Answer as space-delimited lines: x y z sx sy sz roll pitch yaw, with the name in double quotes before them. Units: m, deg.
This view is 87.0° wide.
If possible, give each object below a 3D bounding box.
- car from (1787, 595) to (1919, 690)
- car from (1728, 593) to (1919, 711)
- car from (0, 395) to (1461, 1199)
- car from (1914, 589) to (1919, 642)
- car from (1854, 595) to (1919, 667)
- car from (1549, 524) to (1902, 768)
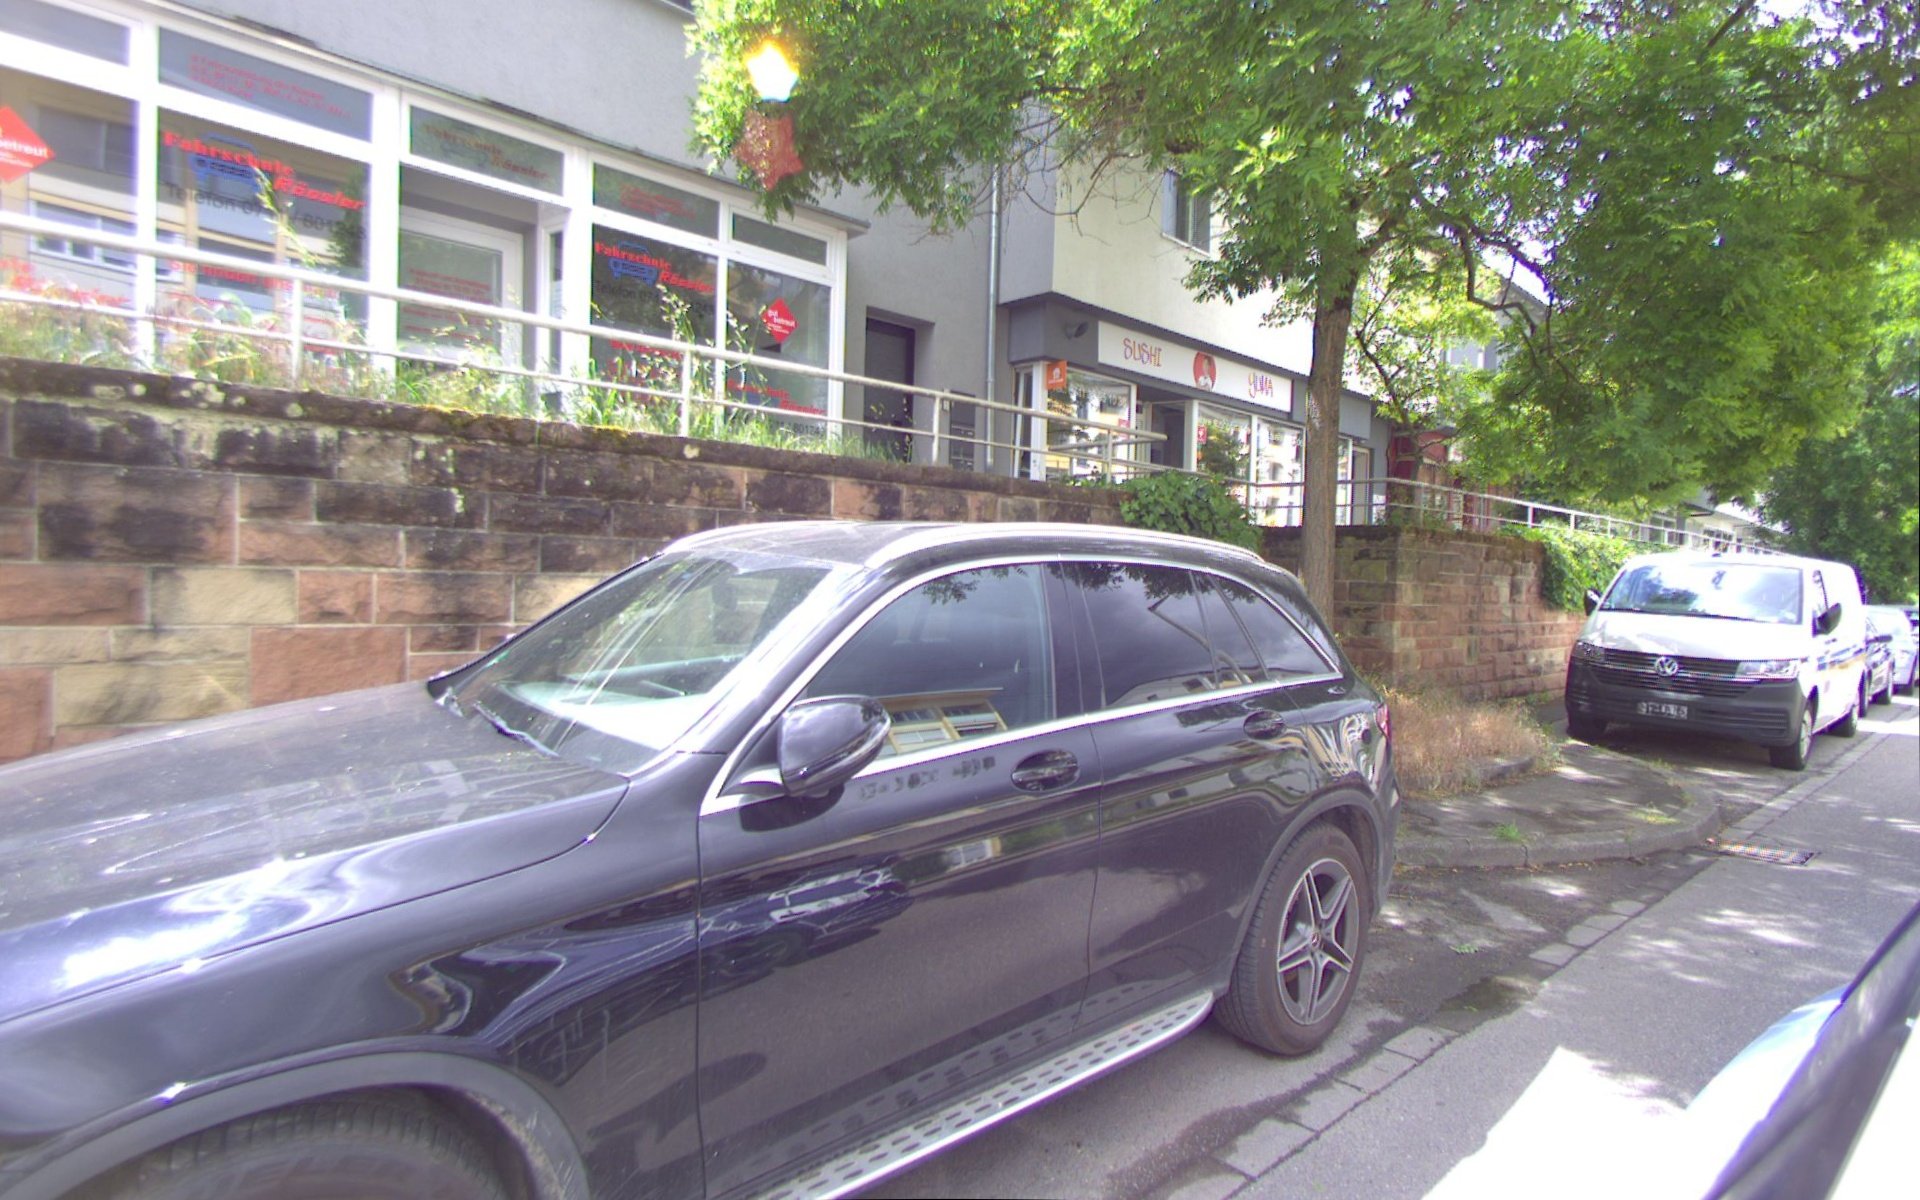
"car" 16.107 0.663 17.912 4.076 1.446 1.782 0 2 -44
"car" 12.509 0.657 14.585 3.669 1.446 1.577 0 1 -41
"car" -0.441 0.533 2.892 4.371 1.637 1.793 0 4 -42
"car" 32.328 0.521 32.802 4.078 1.674 1.816 0 2 -44
"car" 21.379 0.652 22.454 4.075 1.446 1.783 0 2 -41
"car" 8.199 0.345 10.647 4.925 1.994 1.977 0 1 -41
